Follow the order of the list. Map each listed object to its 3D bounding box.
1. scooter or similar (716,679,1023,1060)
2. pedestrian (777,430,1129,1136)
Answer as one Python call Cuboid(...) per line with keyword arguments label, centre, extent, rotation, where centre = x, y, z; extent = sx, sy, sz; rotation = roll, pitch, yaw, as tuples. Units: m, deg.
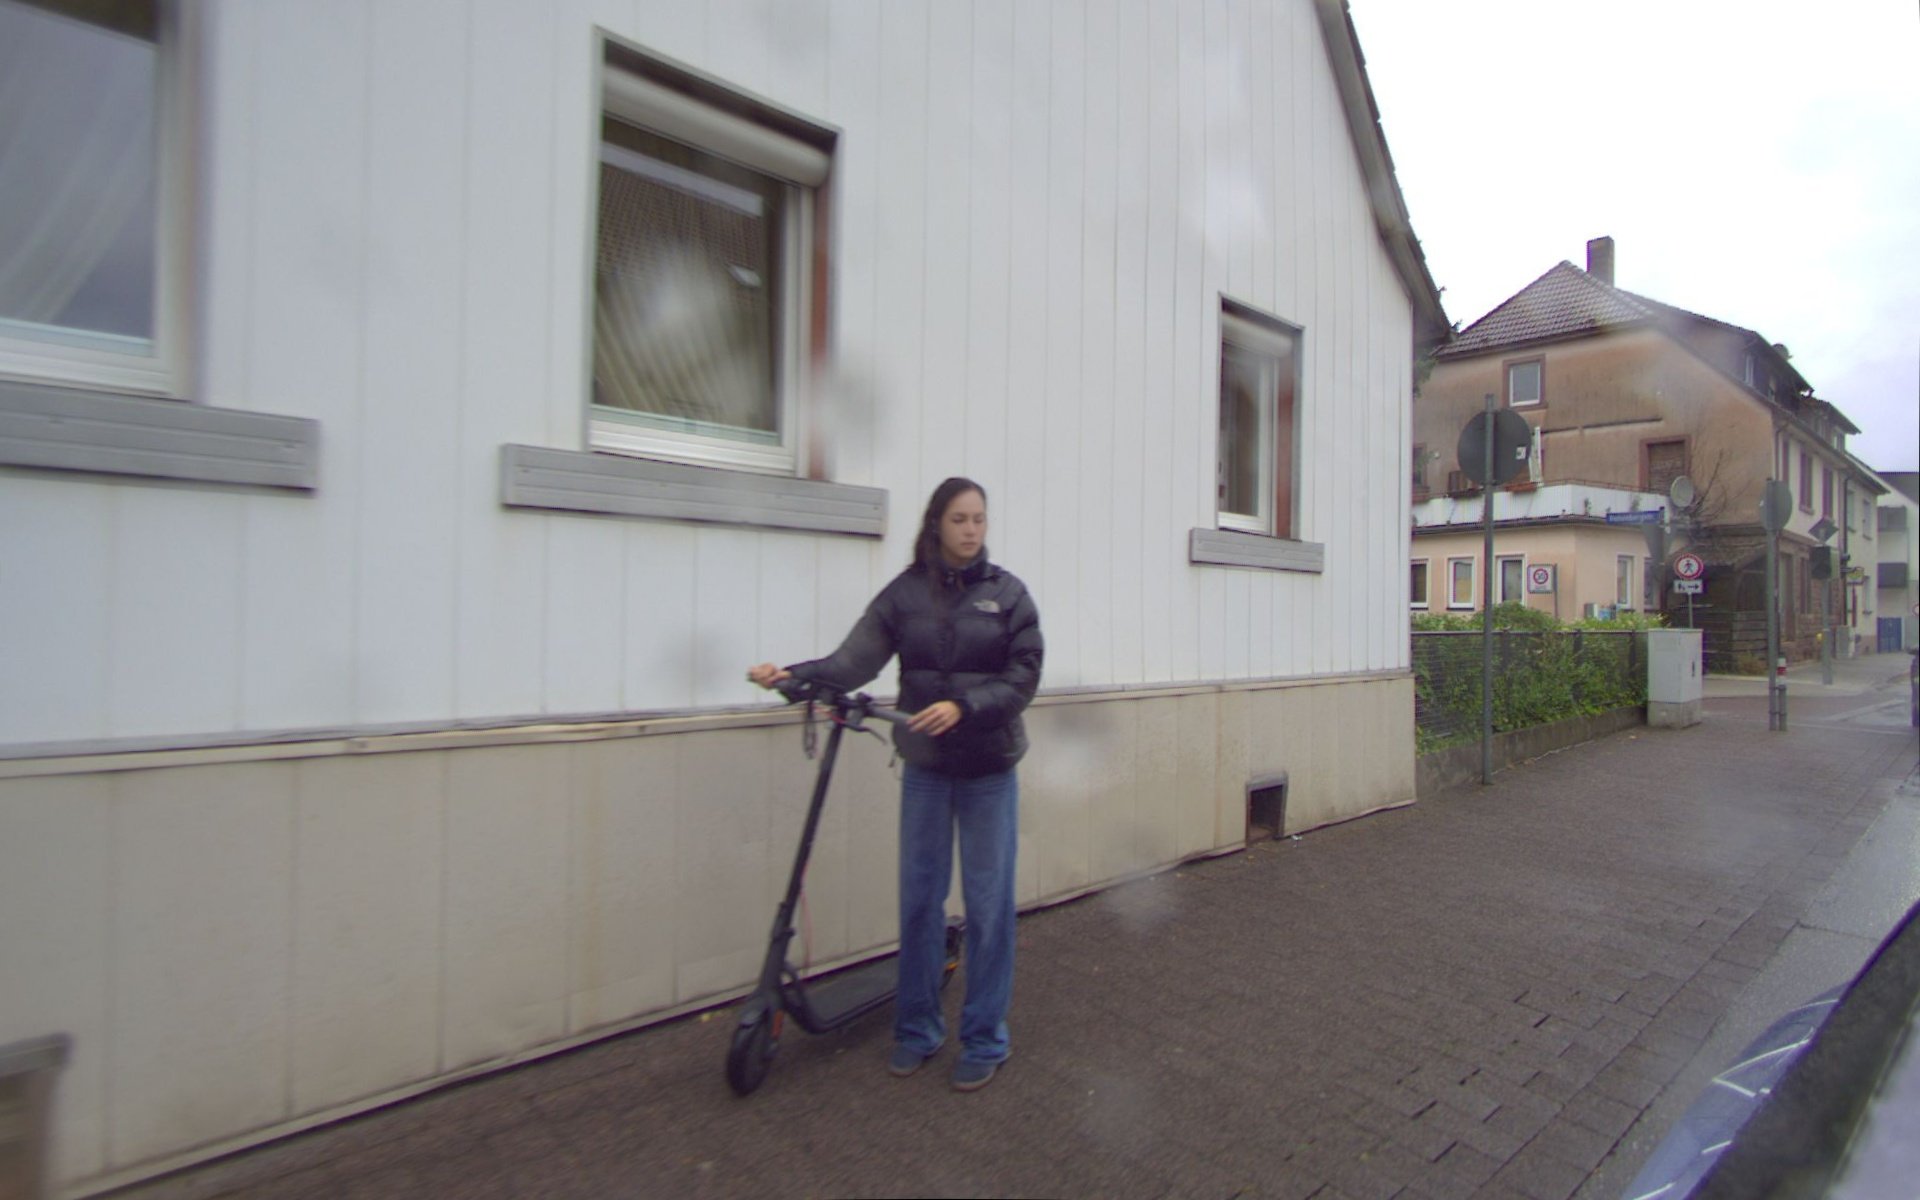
Cuboid(label="scooter or similar", centre=(-0.263, 0.821, 3.403), extent=(1.081, 1.041, 0.245), rotation=(1, 1, -43))
Cuboid(label="pedestrian", centre=(-0.021, 0.456, 3.057), extent=(0.807, 1.755, 0.695), rotation=(1, -2, -42))
